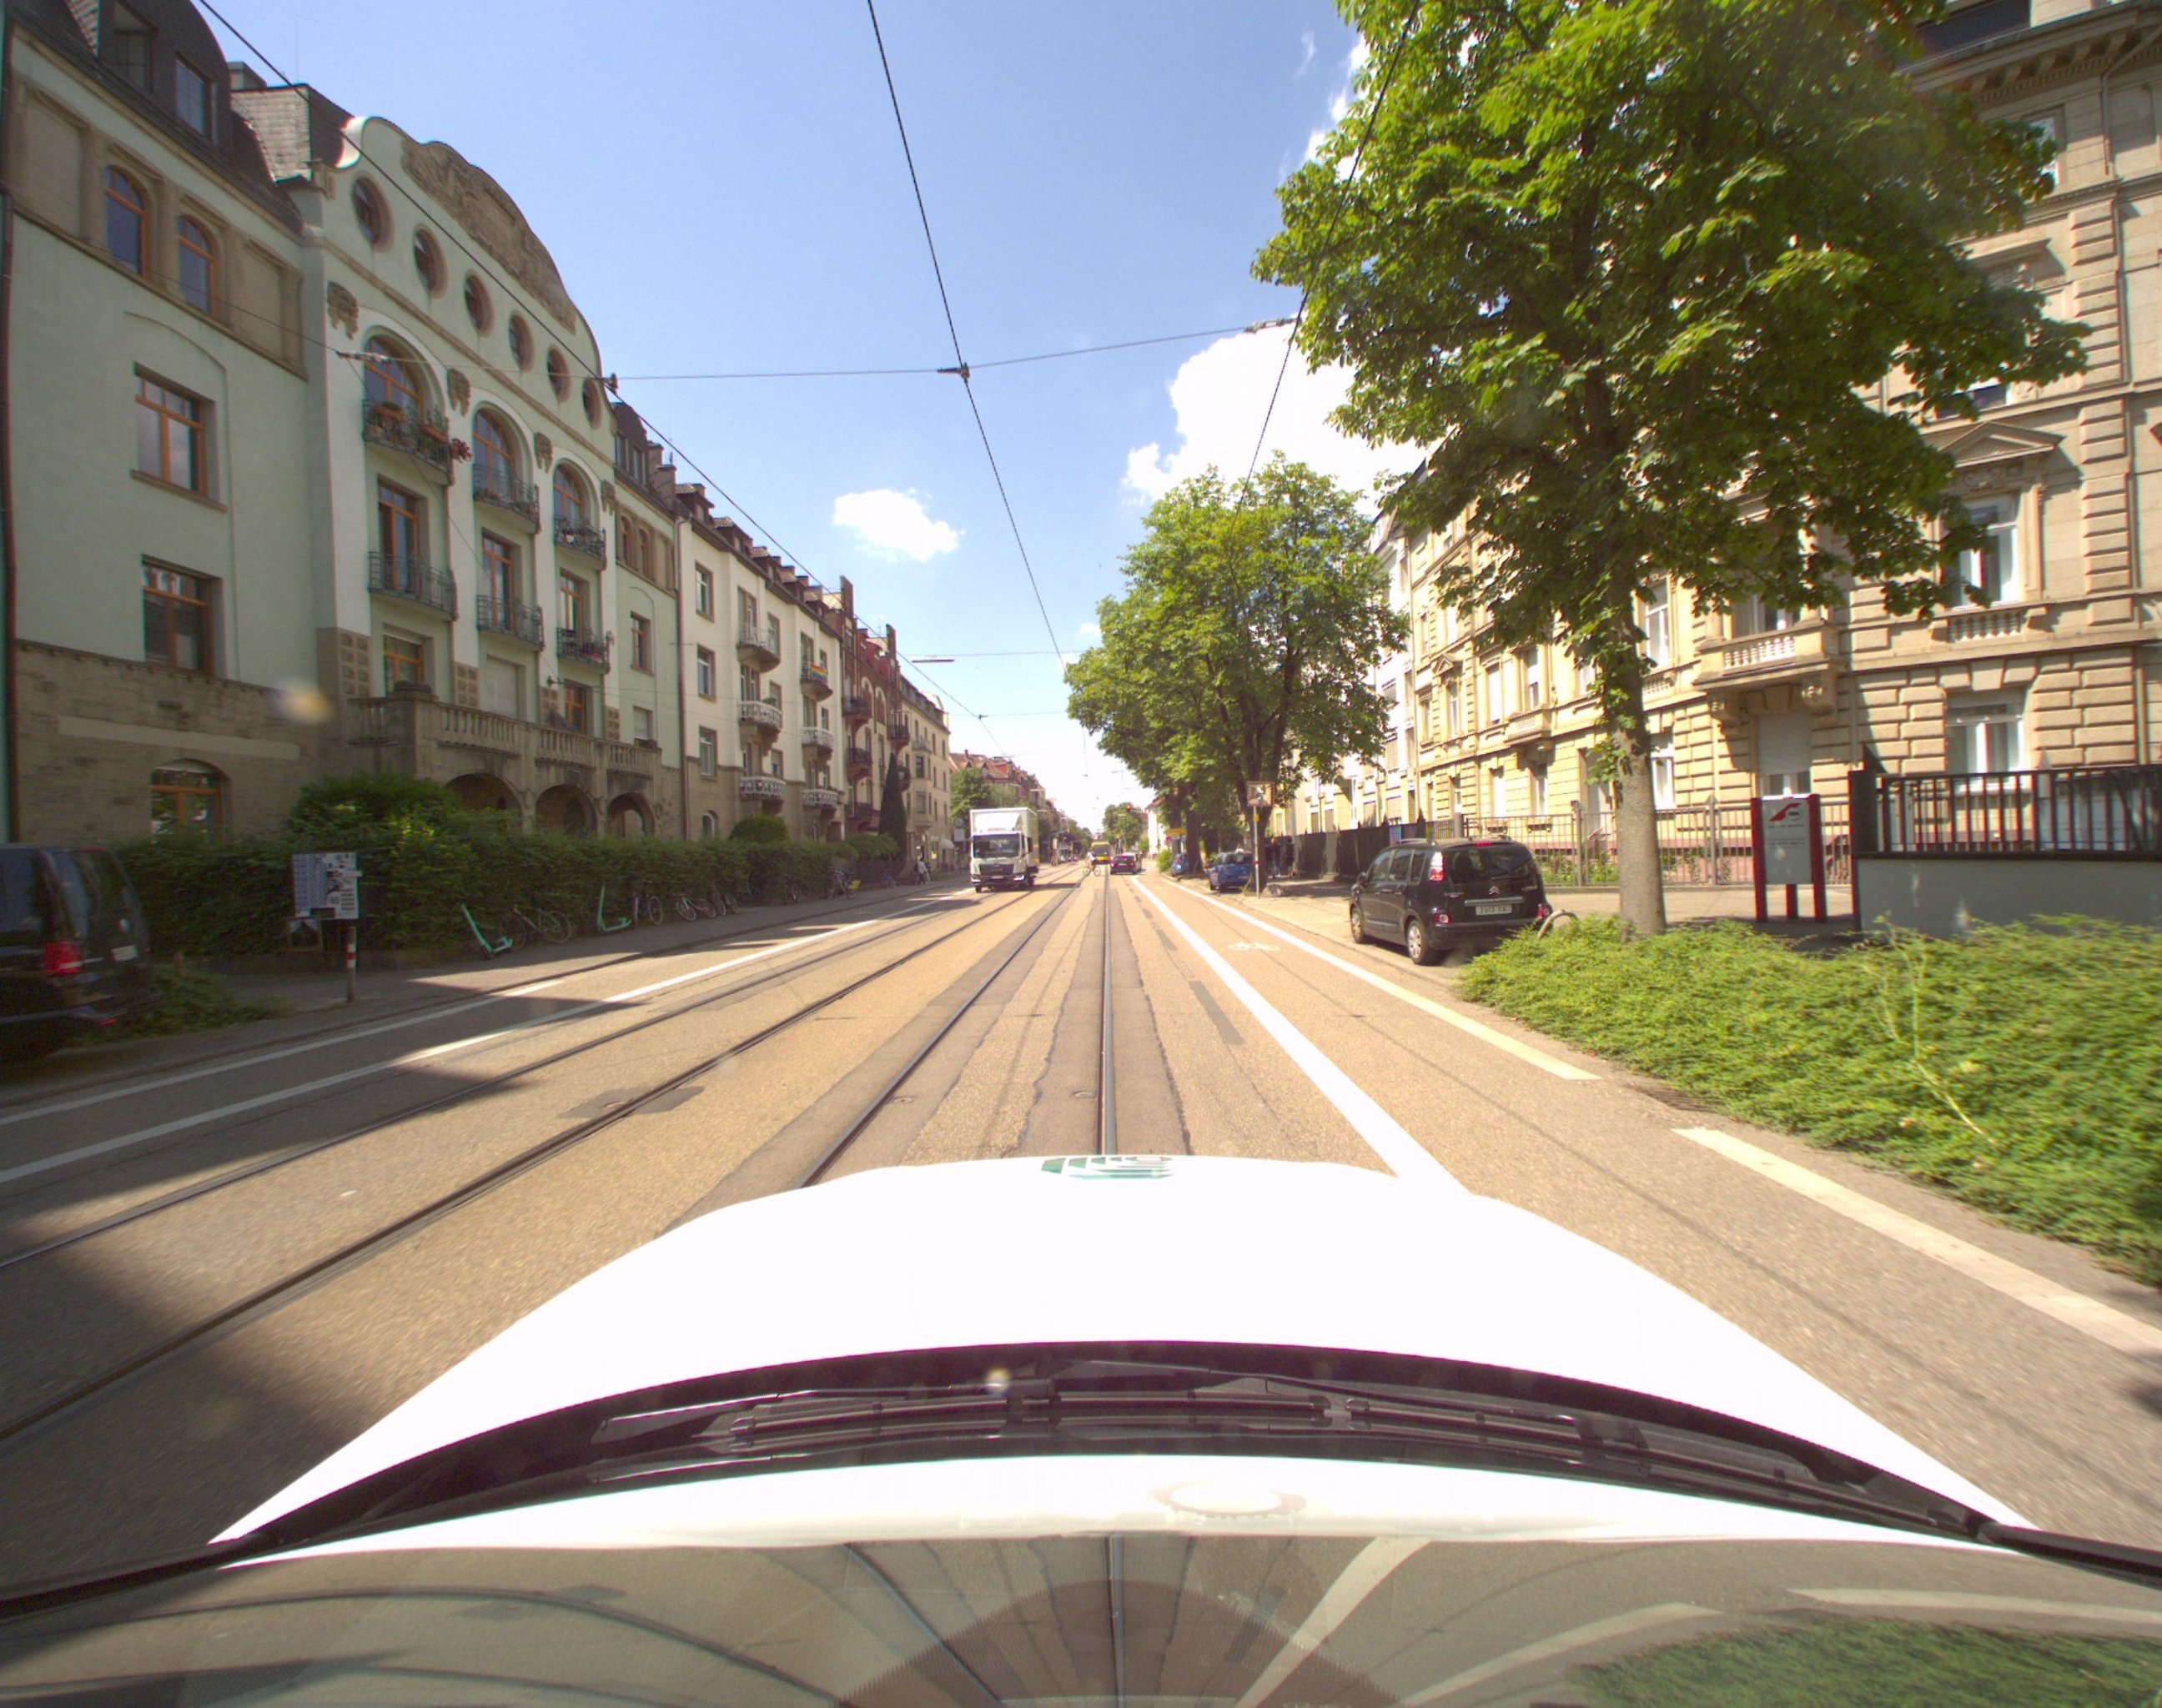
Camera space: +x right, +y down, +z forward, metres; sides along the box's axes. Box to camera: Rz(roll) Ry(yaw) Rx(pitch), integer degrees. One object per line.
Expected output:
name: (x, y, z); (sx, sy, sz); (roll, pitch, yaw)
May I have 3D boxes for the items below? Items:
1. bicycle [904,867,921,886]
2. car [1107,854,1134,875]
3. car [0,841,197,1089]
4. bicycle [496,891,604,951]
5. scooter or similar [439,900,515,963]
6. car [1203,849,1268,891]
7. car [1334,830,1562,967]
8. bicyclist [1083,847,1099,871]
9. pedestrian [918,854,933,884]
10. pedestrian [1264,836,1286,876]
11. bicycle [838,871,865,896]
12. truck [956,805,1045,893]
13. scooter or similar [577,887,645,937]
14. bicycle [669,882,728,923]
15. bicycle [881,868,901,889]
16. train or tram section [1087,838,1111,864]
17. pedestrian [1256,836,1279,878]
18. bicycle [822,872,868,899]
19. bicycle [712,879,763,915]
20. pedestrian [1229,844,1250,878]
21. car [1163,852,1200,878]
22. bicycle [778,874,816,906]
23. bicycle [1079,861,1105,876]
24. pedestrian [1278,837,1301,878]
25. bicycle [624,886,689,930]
bicycle: (-9.319, 1.224, 45.079); (0.541, 0.969, 1.782); (-1, 1, 2)
car: (2.764, 0.721, 57.248); (1.774, 1.345, 3.417); (-2, 0, 2)
car: (-10.261, 0.957, 6.196); (4.508, 1.940, 1.685); (-2, -1, -37)
bicycle: (-10.268, 1.261, 15.864); (0.541, 0.969, 2.250); (-1, 0, 2)
scooter or similar: (-10.261, 1.297, 13.865); (0.541, 0.969, 0.958); (-1, 0, 2)
car: (5.840, 0.583, 31.281); (1.705, 1.423, 4.310); (-3, 0, 1)
car: (5.117, 0.562, 11.971); (1.586, 1.616, 3.908); (-3, -1, 1)
bicyclist: (0.692, 0.339, 54.401); (0.854, 1.616, 0.628); (-2, -3, 43)
pedestrian: (-8.689, 0.837, 45.585); (0.570, 1.615, 0.817); (-2, 0, 2)
pedestrian: (9.120, 0.092, 38.244); (0.806, 1.860, 0.623); (-2, -2, -1)
bicycle: (-9.547, 1.208, 33.952); (0.541, 0.969, 1.782); (-1, 1, 2)
truck: (-3.521, -0.231, 37.900); (2.928, 3.550, 8.456); (-2, 0, 2)
scooter or similar: (-10.217, 1.240, 17.759); (0.541, 0.969, 1.500); (-1, 0, 2)
bicycle: (-10.036, 1.247, 21.430); (0.541, 0.969, 1.991); (-1, -1, 2)
bicycle: (-9.475, 1.209, 40.677); (0.541, 0.969, 1.782); (-1, 0, 2)
train or tram section: (2.621, -0.464, 115.863); (3.023, 3.438, 11.977); (-2, 0, 2)
pedestrian: (8.419, 0.135, 36.799); (0.806, 1.860, 0.576); (-2, -2, -1)
bicycle: (-8.933, 1.182, 30.937); (0.538, 0.969, 1.792); (-2, -2, 31)
bicycle: (-9.910, 1.228, 23.579); (0.541, 0.969, 1.990); (-1, -1, 2)
pedestrian: (7.372, 0.318, 37.878); (0.802, 1.530, 0.626); (-3, -2, 19)
car: (6.054, 0.638, 49.497); (1.705, 1.423, 4.310); (-3, 0, 1)
bicycle: (-9.803, 1.220, 28.169); (0.541, 0.969, 1.991); (-1, 1, 2)
bicycle: (0.705, 0.987, 54.398); (1.758, 0.969, 0.645); (-2, -2, 43)
pedestrian: (9.259, 0.144, 36.199); (0.806, 1.775, 0.623); (-2, -2, -1)
bicycle: (-10.112, 1.260, 19.465); (0.541, 0.969, 1.823); (-1, -1, 2)
